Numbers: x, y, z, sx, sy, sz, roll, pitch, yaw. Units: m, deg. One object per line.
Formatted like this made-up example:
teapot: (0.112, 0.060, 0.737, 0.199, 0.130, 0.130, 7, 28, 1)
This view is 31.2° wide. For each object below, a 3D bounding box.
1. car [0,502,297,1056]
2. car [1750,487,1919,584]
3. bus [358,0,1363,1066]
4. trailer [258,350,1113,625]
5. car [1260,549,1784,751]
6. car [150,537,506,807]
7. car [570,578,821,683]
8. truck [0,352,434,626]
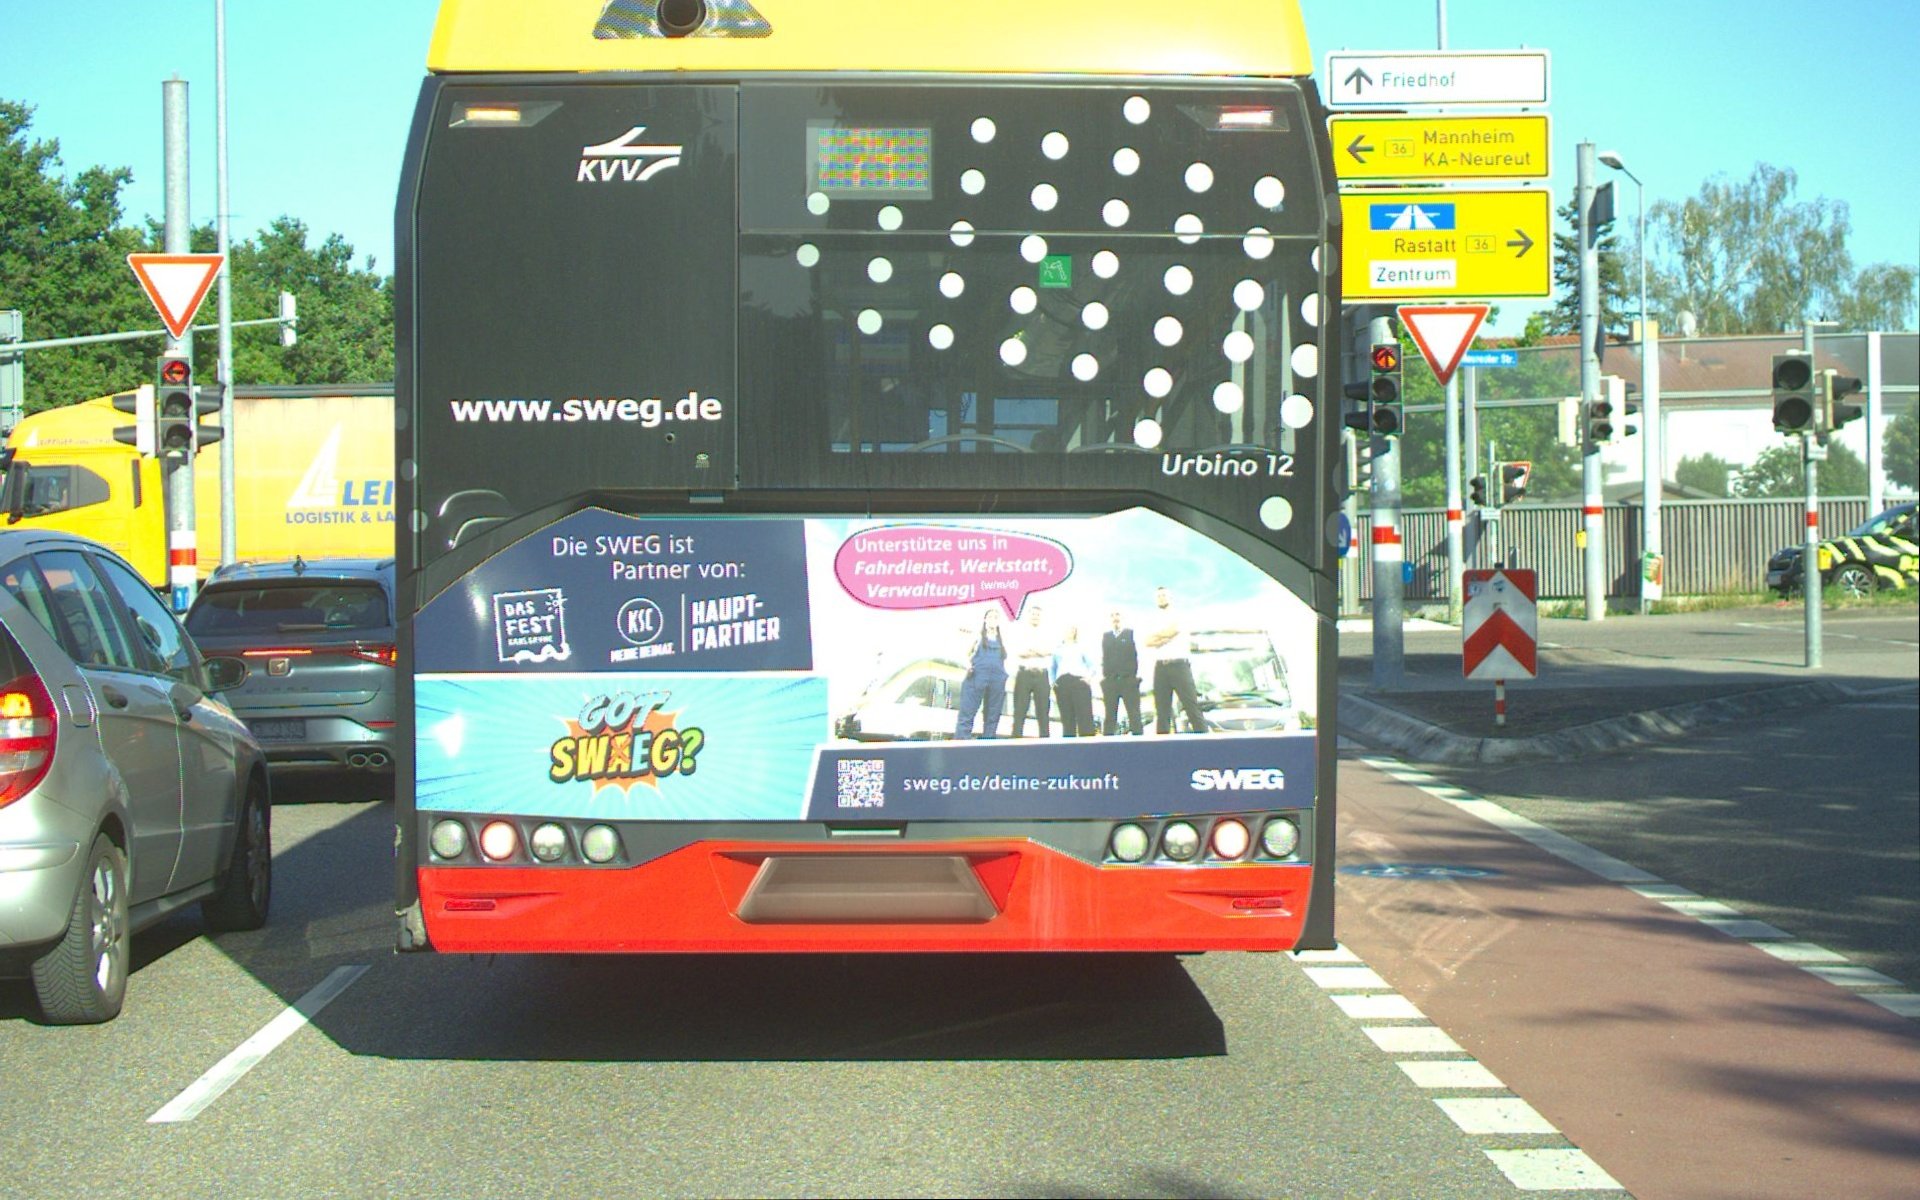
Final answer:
car: (-3.596, 0.486, 12.225, 1.754, 1.614, 4.034, -1, 2, -1)
car: (13.254, -0.874, 47.763, 4.159, 1.298, 1.575, 0, 0, -4)
bus: (-0.329, -0.557, 14.945, 2.596, 3.323, 11.984, 0, 1, -1)
trailer: (-4.163, -1.731, 52.756, 12.731, 4.016, 2.471, -1, 1, -7)
car: (3.936, 0.324, 24.290, 3.523, 1.297, 1.574, 1, 2, 8)
car: (-3.766, 0.395, 21.019, 1.588, 1.480, 3.682, -1, 0, -2)
car: (-4.318, 0.480, 55.876, 3.986, 1.606, 1.696, -1, 1, -6)
truck: (-11.241, -1.670, 51.943, 6.396, 3.984, 2.473, -1, 1, -7)
